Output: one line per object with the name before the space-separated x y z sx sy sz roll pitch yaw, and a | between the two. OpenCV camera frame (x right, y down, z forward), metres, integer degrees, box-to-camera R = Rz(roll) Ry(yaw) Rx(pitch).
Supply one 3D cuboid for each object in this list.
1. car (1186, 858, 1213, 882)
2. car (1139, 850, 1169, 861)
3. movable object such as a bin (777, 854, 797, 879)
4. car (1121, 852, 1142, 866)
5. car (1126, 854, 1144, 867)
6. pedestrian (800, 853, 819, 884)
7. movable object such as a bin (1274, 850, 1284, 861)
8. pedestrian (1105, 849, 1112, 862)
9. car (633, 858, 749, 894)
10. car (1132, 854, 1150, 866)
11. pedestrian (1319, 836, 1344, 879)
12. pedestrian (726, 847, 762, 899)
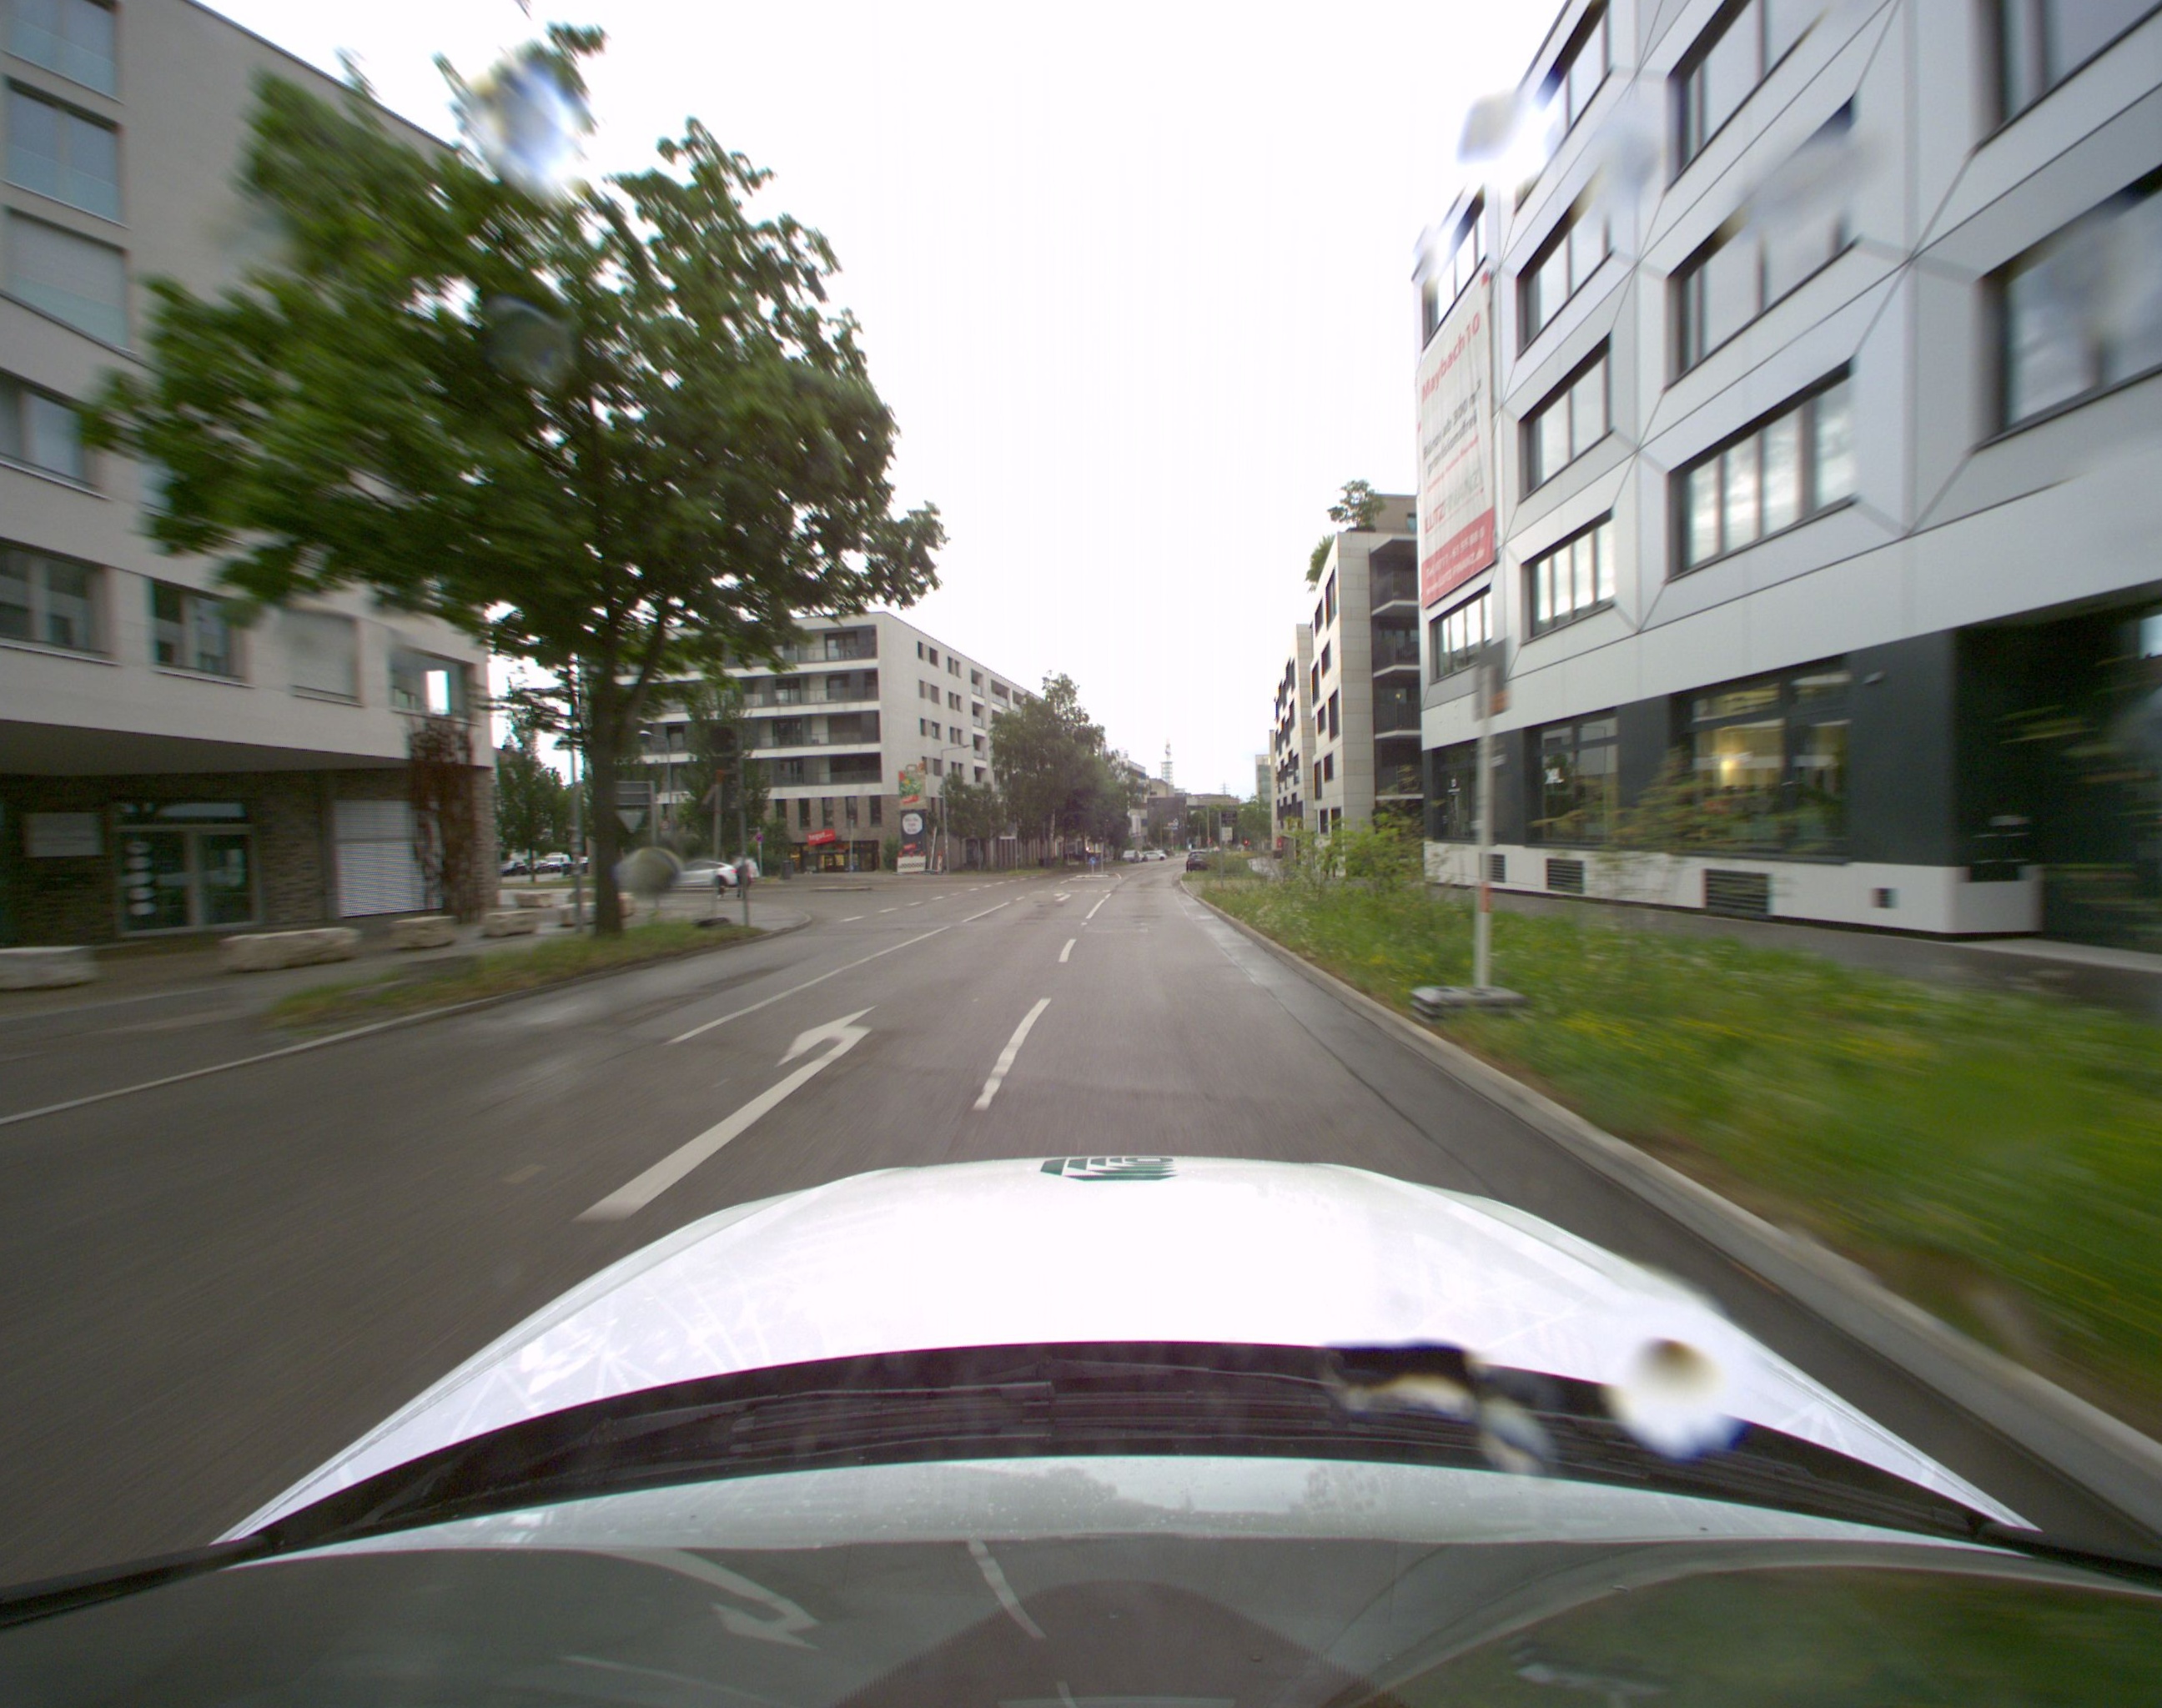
car | 8.122 1.063 55.526 1.535 1.478 3.673 -1 1 13
car | 10.693 0.210 119.574 3.979 1.577 1.996 -1 0 -7
movable object such as a bin | -16.734 0.700 46.364 0.712 1.362 0.823 -1 0 5
car | 6.388 0.605 102.870 2.064 1.609 4.699 -3 0 11
car | 7.194 0.892 108.081 1.761 1.600 4.044 -1 0 11
pedestrian | -18.066 0.946 54.199 0.879 2.013 1.118 0 0 3
movable object such as a bin | 26.783 0.199 110.279 1.226 1.320 1.196 -2 -1 14
pedestrian | 3.467 0.152 103.517 0.704 1.683 0.959 -1 0 8
car | -19.731 1.101 41.370 4.794 1.661 2.061 -1 0 -3
car | 8.360 0.816 112.686 1.784 1.516 4.261 -1 -1 13
pedestrian | 10.731 0.149 34.959 0.818 1.796 0.779 -2 -1 6
pedestrian | -13.375 0.750 32.343 1.055 2.014 1.096 -1 -1 -10
